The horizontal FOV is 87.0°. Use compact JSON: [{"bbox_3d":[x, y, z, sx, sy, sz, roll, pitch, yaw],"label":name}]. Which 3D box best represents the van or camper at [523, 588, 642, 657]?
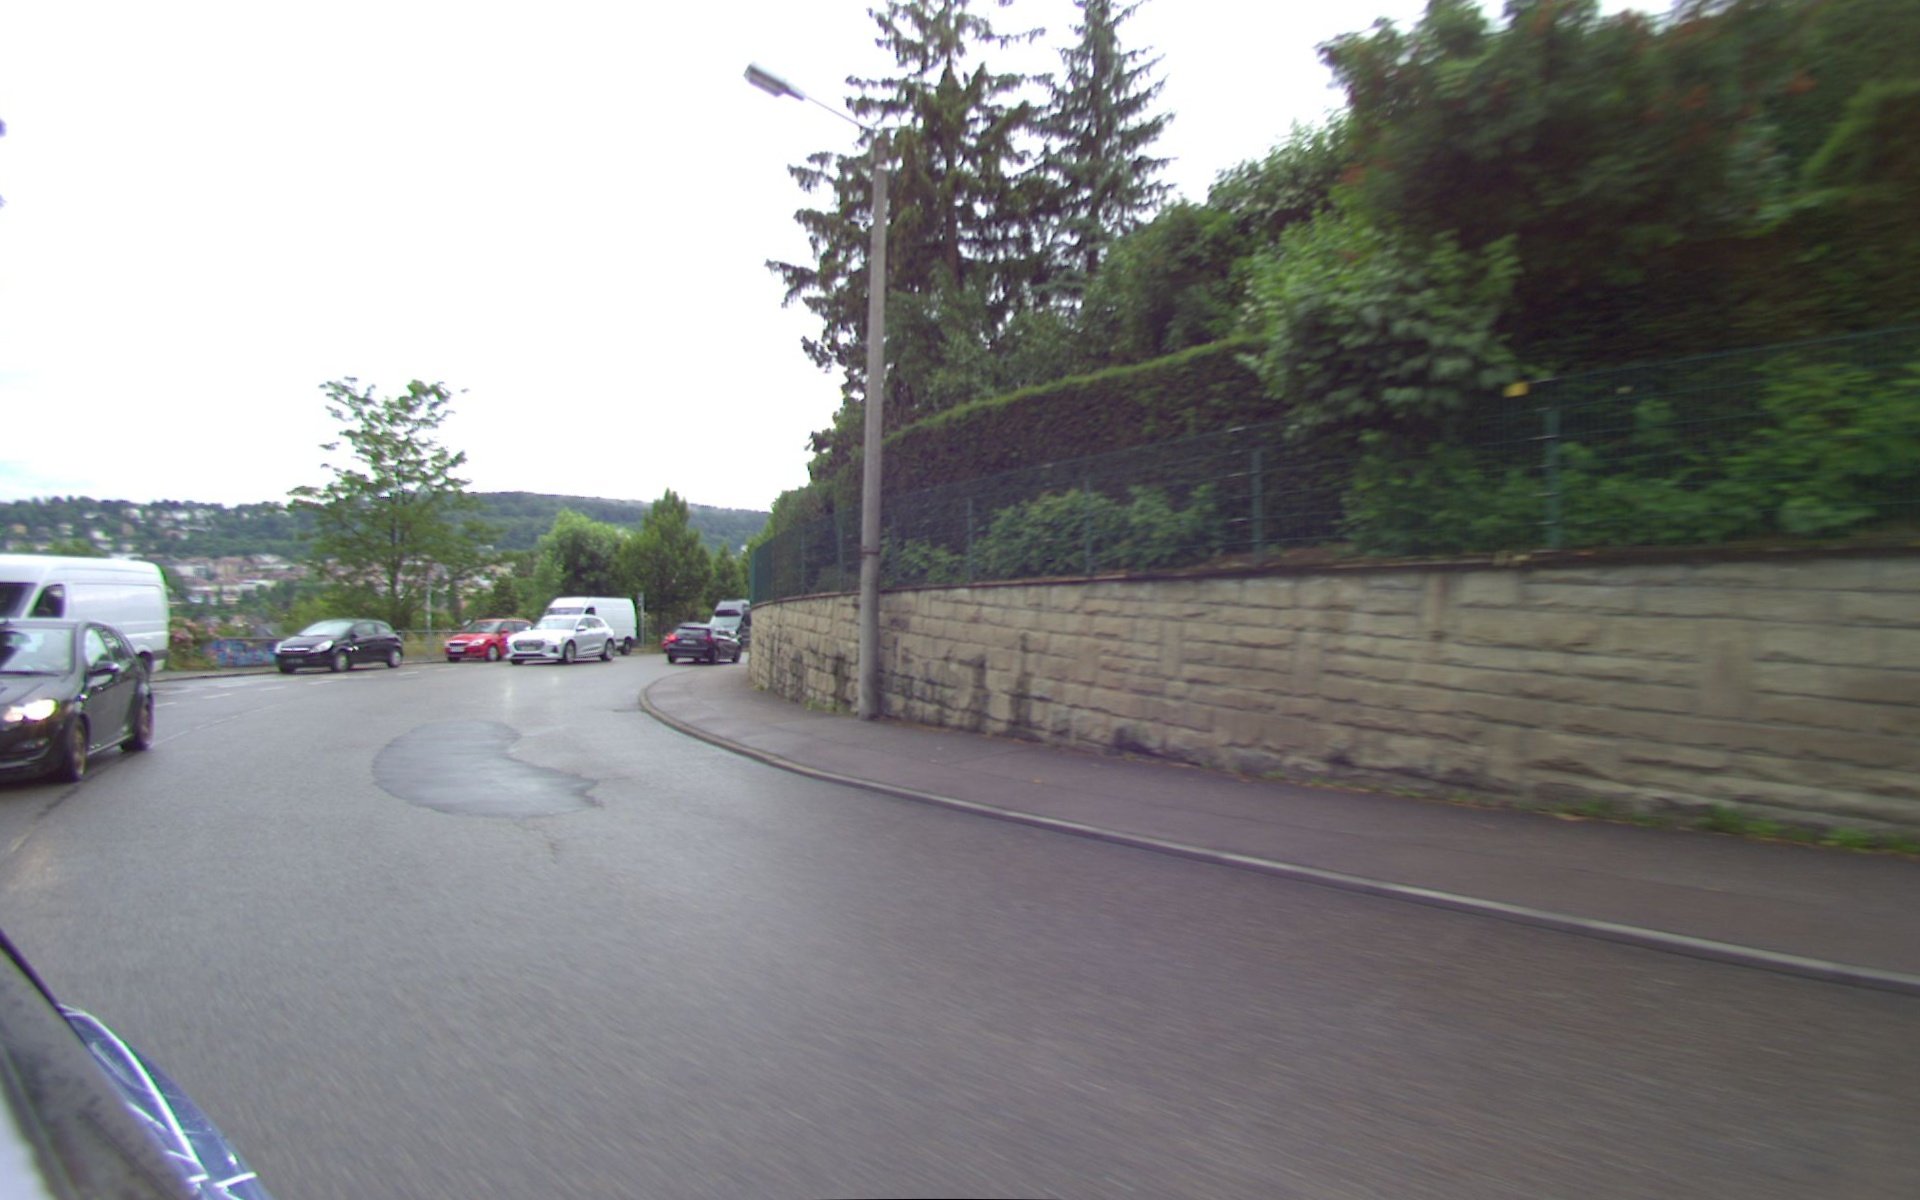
[{"bbox_3d":[-15.646,1.003,42.305,2.058,2.681,5.576,-1,-2,11],"label":"van or camper"}]

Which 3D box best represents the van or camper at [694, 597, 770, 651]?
[{"bbox_3d":[-12.884,1.402,57.558,2.109,2.932,5.707,-1,-2,11],"label":"van or camper"}]

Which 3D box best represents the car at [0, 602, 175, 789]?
[{"bbox_3d":[-9.231,0.807,9.782,1.754,1.497,4.419,1,-2,-27],"label":"car"}]

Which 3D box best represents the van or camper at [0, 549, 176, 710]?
[{"bbox_3d":[-16.983,0.513,18.321,2.039,2.600,5.902,1,-2,-13],"label":"van or camper"}]

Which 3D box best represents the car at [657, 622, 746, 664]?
[{"bbox_3d":[-9.501,1.570,37.531,1.772,1.445,4.104,1,-2,8],"label":"car"}]

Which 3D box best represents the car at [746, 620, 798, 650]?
[{"bbox_3d":[-11.822,2.216,64.020,1.708,1.762,4.385,-2,-2,12],"label":"car"}]

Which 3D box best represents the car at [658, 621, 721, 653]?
[{"bbox_3d":[-13.818,1.884,51.881,1.669,1.552,3.820,0,-2,10],"label":"car"}]

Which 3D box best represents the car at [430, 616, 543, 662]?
[{"bbox_3d":[-16.780,1.380,36.083,1.607,1.552,4.204,-1,-2,8],"label":"car"}]

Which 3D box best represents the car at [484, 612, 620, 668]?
[{"bbox_3d":[-13.501,1.309,33.879,2.166,1.721,4.872,0,-2,6],"label":"car"}]

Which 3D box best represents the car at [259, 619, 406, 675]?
[{"bbox_3d":[-17.803,1.309,28.928,1.678,1.455,3.944,-1,-2,2],"label":"car"}]
